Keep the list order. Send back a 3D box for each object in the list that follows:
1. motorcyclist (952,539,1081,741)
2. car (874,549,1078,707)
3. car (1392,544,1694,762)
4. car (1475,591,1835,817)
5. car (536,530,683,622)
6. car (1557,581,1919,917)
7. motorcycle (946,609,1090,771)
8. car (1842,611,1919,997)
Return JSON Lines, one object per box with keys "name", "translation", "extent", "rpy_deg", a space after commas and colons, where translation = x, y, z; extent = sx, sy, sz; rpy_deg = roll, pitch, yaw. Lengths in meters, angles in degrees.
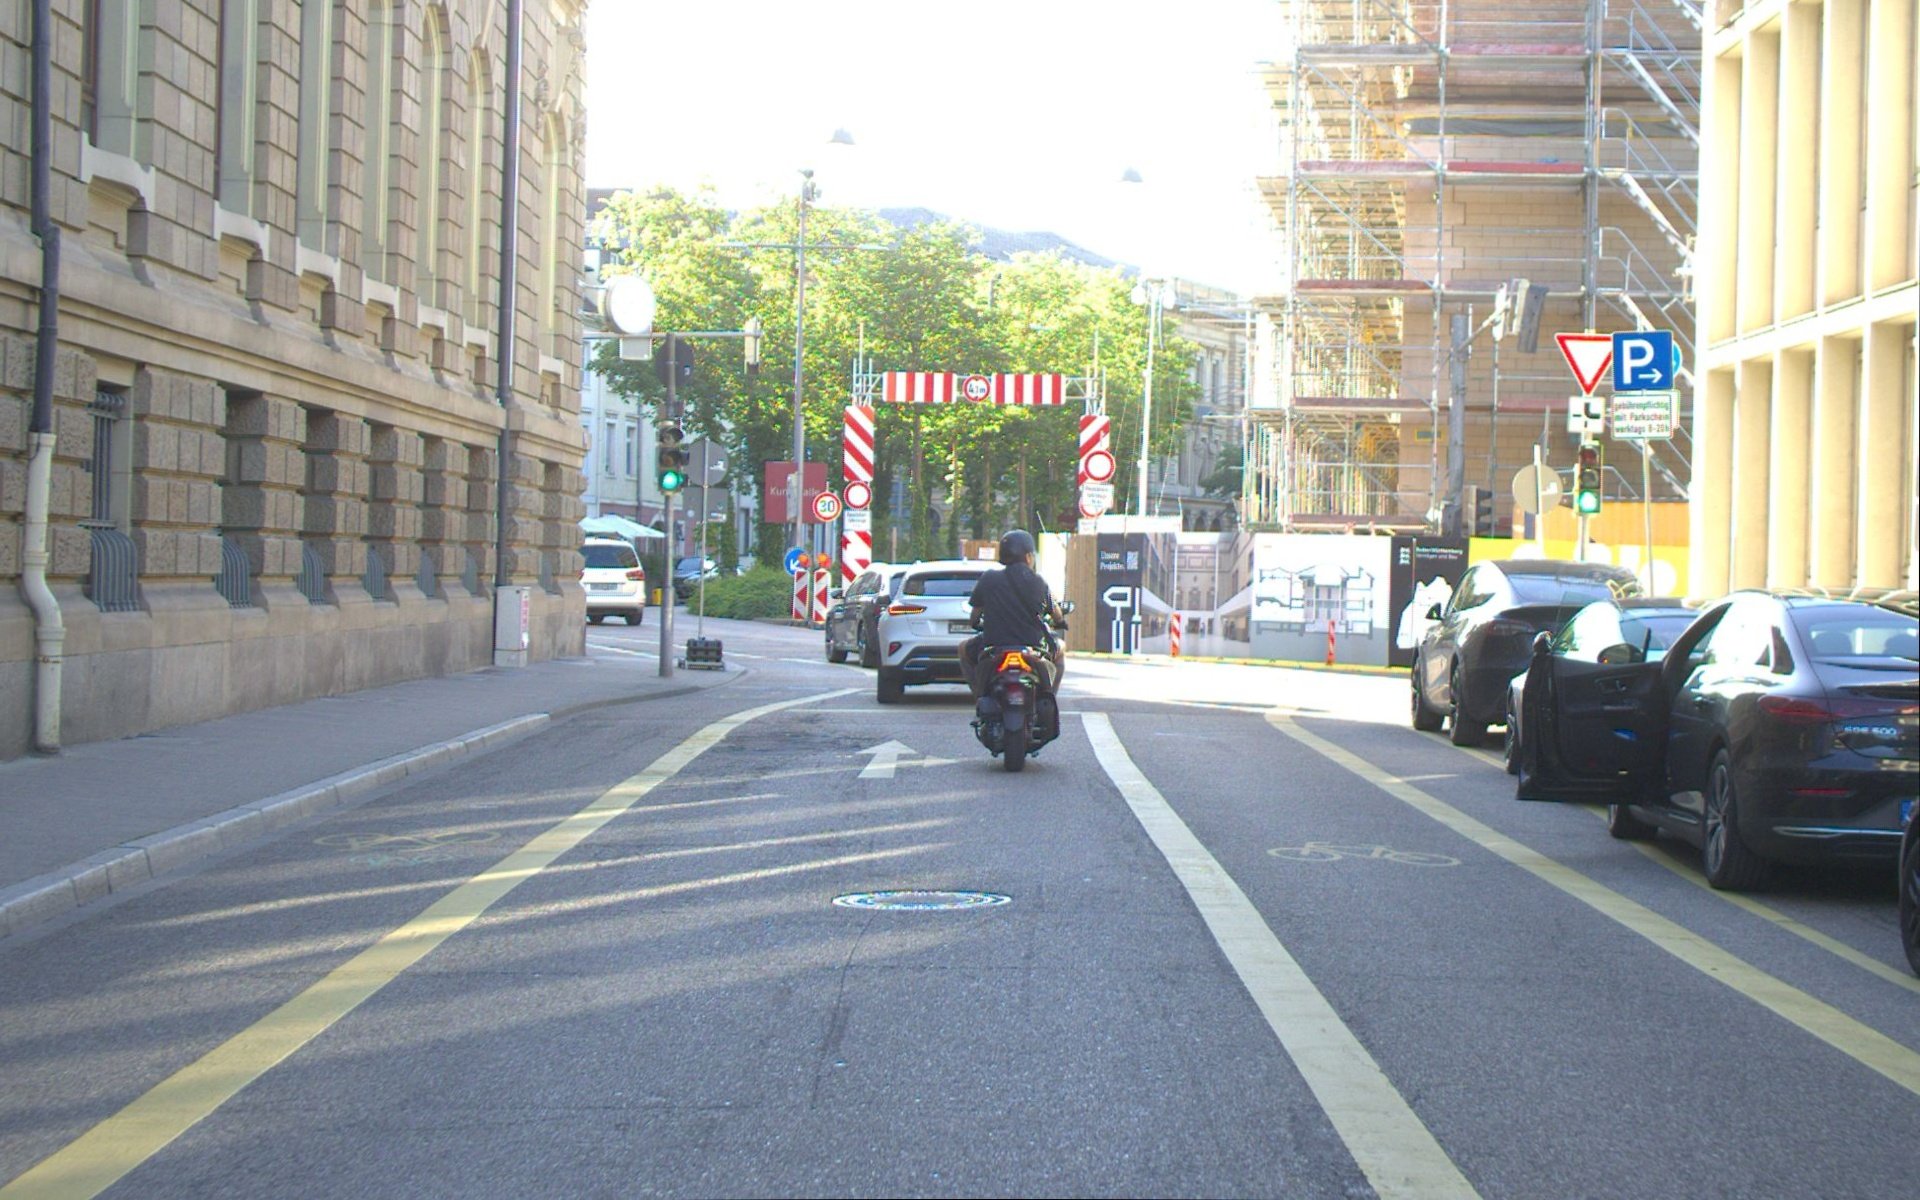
{"name": "motorcyclist", "translation": [0.401, 0.286, 24.585], "extent": [0.867, 1.422, 0.455], "rpy_deg": [1, 0, -4]}
{"name": "car", "translation": [0.232, 0.272, 36.762], "extent": [1.823, 1.536, 4.263], "rpy_deg": [2, 0, 4]}
{"name": "car", "translation": [5.122, 0.401, 30.818], "extent": [1.824, 1.693, 4.667], "rpy_deg": [3, 1, 0]}
{"name": "car", "translation": [4.892, 0.694, 24.790], "extent": [1.825, 1.394, 4.479], "rpy_deg": [3, 0, 3]}
{"name": "car", "translation": [-7.043, -0.512, 68.799], "extent": [1.993, 1.659, 4.360], "rpy_deg": [-2, 2, -18]}
{"name": "car", "translation": [4.508, 0.697, 18.039], "extent": [1.824, 1.496, 4.737], "rpy_deg": [3, 0, 0]}
{"name": "motorcycle", "translation": [0.396, 0.625, 24.578], "extent": [0.872, 1.105, 1.840], "rpy_deg": [1, 0, -3]}
{"name": "car", "translation": [4.587, 0.813, 12.082], "extent": [1.781, 1.474, 4.289], "rpy_deg": [3, 0, 0]}
